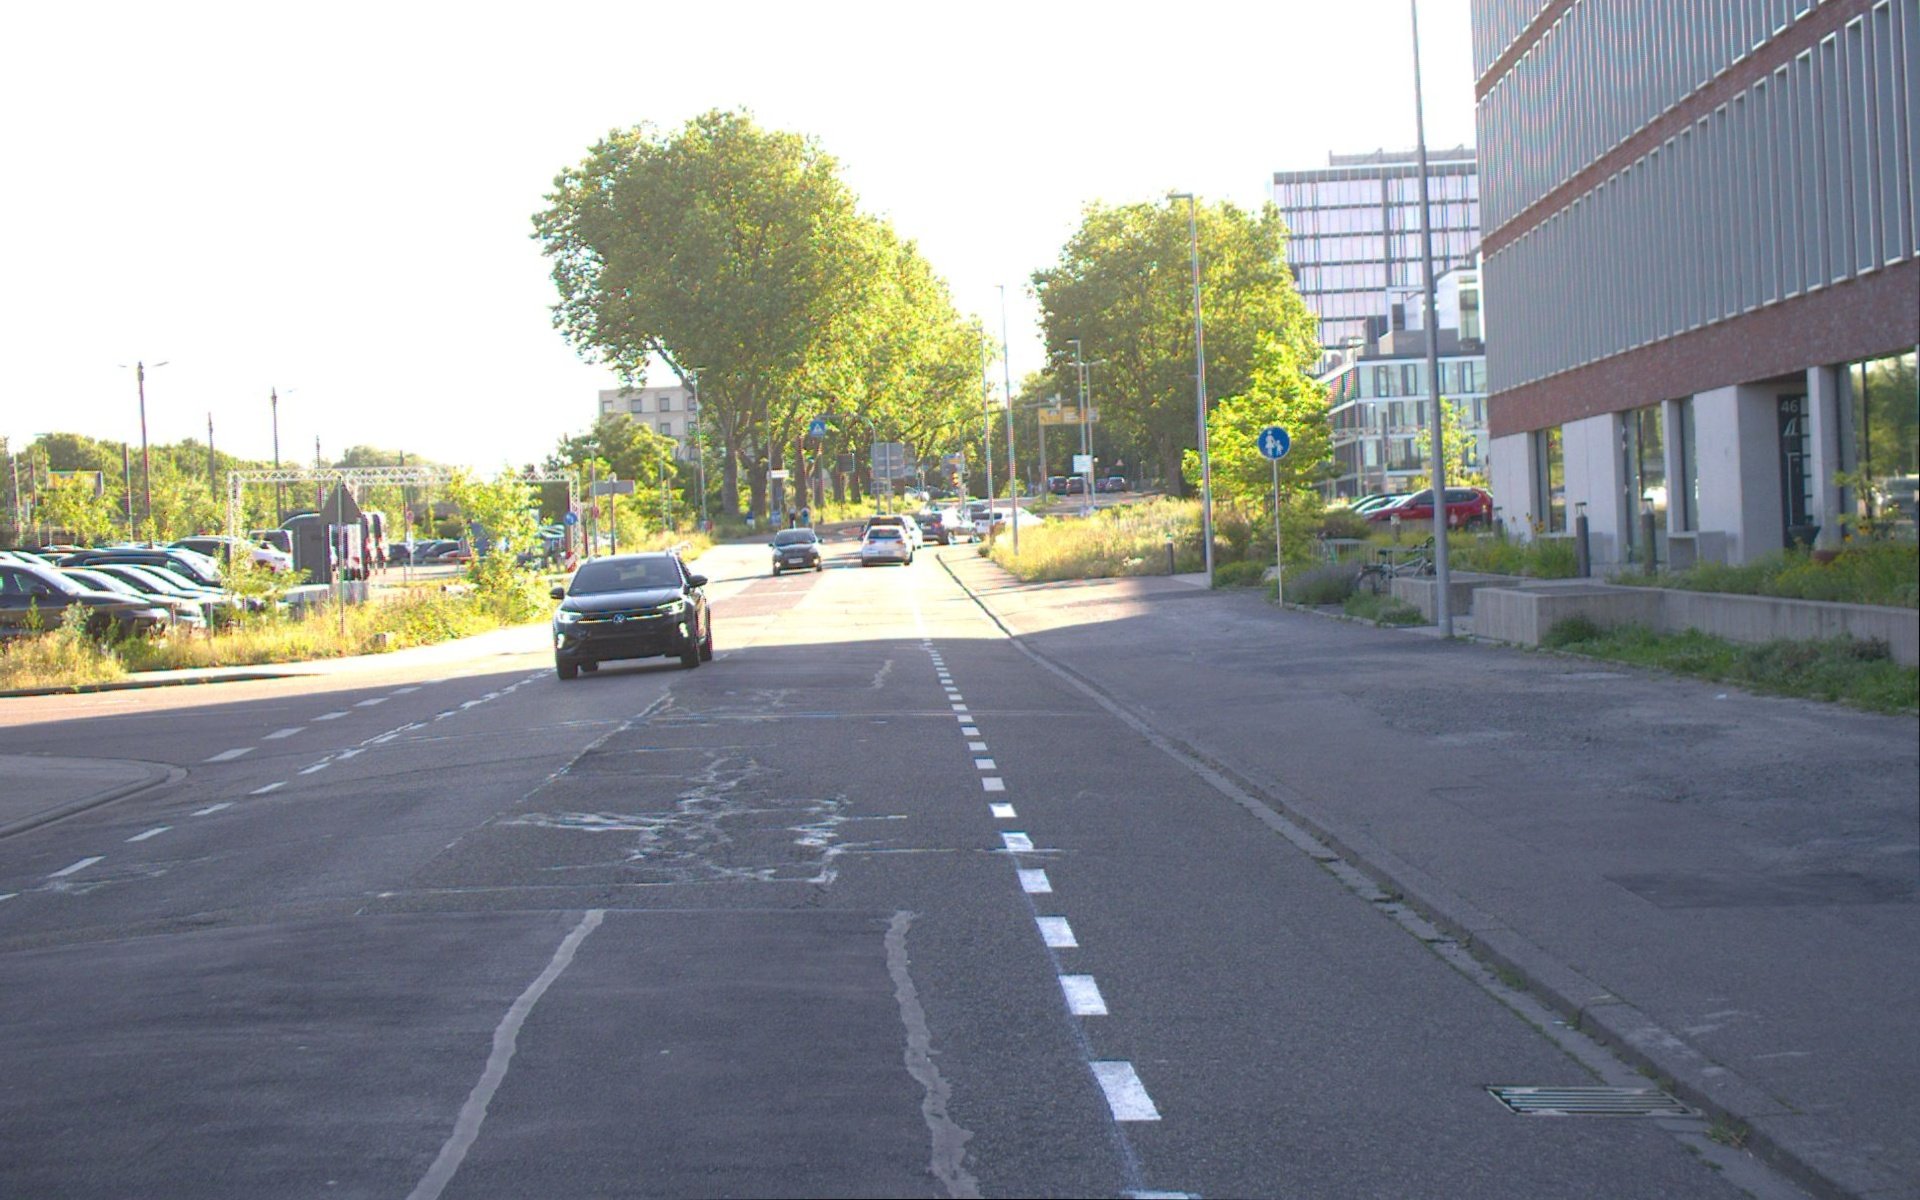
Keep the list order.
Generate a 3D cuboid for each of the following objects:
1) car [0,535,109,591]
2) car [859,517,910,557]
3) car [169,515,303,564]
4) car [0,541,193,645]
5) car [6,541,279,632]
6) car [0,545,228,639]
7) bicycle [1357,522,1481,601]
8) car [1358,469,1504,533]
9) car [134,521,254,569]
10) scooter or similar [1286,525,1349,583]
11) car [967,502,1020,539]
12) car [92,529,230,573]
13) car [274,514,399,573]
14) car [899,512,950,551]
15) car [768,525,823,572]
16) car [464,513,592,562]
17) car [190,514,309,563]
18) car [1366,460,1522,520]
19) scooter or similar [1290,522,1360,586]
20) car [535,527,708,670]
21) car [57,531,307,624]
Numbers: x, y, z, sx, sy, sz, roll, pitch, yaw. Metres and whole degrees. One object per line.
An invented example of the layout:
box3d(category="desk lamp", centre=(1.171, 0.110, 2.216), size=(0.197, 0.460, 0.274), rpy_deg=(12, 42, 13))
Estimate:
box3d(category="car", centre=(-27.164, -1.076, 99.971), size=(4.321, 1.518, 1.878), rpy_deg=(-1, 2, 0))
box3d(category="car", centre=(-2.726, -2.295, 125.269), size=(1.790, 1.415, 4.000), rpy_deg=(-1, 1, 0))
box3d(category="car", centre=(-27.625, -2.307, 131.310), size=(4.580, 1.735, 2.058), rpy_deg=(-1, 2, 3))
box3d(category="car", centre=(-15.078, -0.097, 56.504), size=(4.428, 1.575, 2.049), rpy_deg=(-2, 1, 0))
box3d(category="car", centre=(-14.862, -0.251, 62.651), size=(4.428, 1.456, 2.049), rpy_deg=(-2, 1, 0))
box3d(category="car", centre=(-15.107, -0.133, 59.409), size=(4.428, 1.456, 2.049), rpy_deg=(-2, 1, 0))
box3d(category="bicycle", centre=(7.521, -0.634, 56.326), size=(1.931, 1.165, 0.375), rpy_deg=(-4, 1, -7))
box3d(category="car", centre=(14.208, -2.985, 103.884), size=(4.184, 1.575, 1.851), rpy_deg=(-2, -4, 3))
box3d(category="car", centre=(-27.632, -1.977, 124.055), size=(3.882, 1.598, 1.878), rpy_deg=(-1, 2, -1))
box3d(category="scooter or similar", centre=(7.229, -0.929, 69.486), size=(1.243, 1.152, 0.366), rpy_deg=(-1, 1, 4))
box3d(category="car", centre=(1.582, -3.685, 159.581), size=(2.164, 1.678, 4.000), rpy_deg=(-1, 1, 5))
box3d(category="car", centre=(-27.545, -1.703, 118.637), size=(4.321, 1.371, 1.878), rpy_deg=(-1, 2, -1))
box3d(category="car", centre=(-27.654, -2.511, 152.573), size=(5.096, 2.451, 2.320), rpy_deg=(-1, 2, -1))
box3d(category="car", centre=(-1.562, -3.045, 154.199), size=(2.163, 1.678, 4.000), rpy_deg=(-1, 1, 1))
box3d(category="car", centre=(-5.628, -1.783, 117.790), size=(1.654, 1.498, 4.000), rpy_deg=(-3, 1, 0))
box3d(category="car", centre=(-17.161, -2.490, 136.698), size=(4.845, 1.828, 2.000), rpy_deg=(-1, 2, -1))
box3d(category="car", centre=(-28.307, -2.459, 137.001), size=(4.321, 1.785, 1.878), rpy_deg=(-1, 2, -1))
box3d(category="car", centre=(13.627, -3.102, 96.932), size=(4.184, 1.575, 1.852), rpy_deg=(-1, 2, 3))
box3d(category="scooter or similar", centre=(7.217, -0.909, 67.929), size=(1.340, 1.241, 0.423), rpy_deg=(-1, 1, 4))
box3d(category="car", centre=(-4.208, -0.063, 43.284), size=(1.740, 1.520, 4.112), rpy_deg=(-6, 2, -1))
box3d(category="car", centre=(-15.390, -0.462, 68.206), size=(4.428, 1.664, 2.049), rpy_deg=(-2, 1, 0))
